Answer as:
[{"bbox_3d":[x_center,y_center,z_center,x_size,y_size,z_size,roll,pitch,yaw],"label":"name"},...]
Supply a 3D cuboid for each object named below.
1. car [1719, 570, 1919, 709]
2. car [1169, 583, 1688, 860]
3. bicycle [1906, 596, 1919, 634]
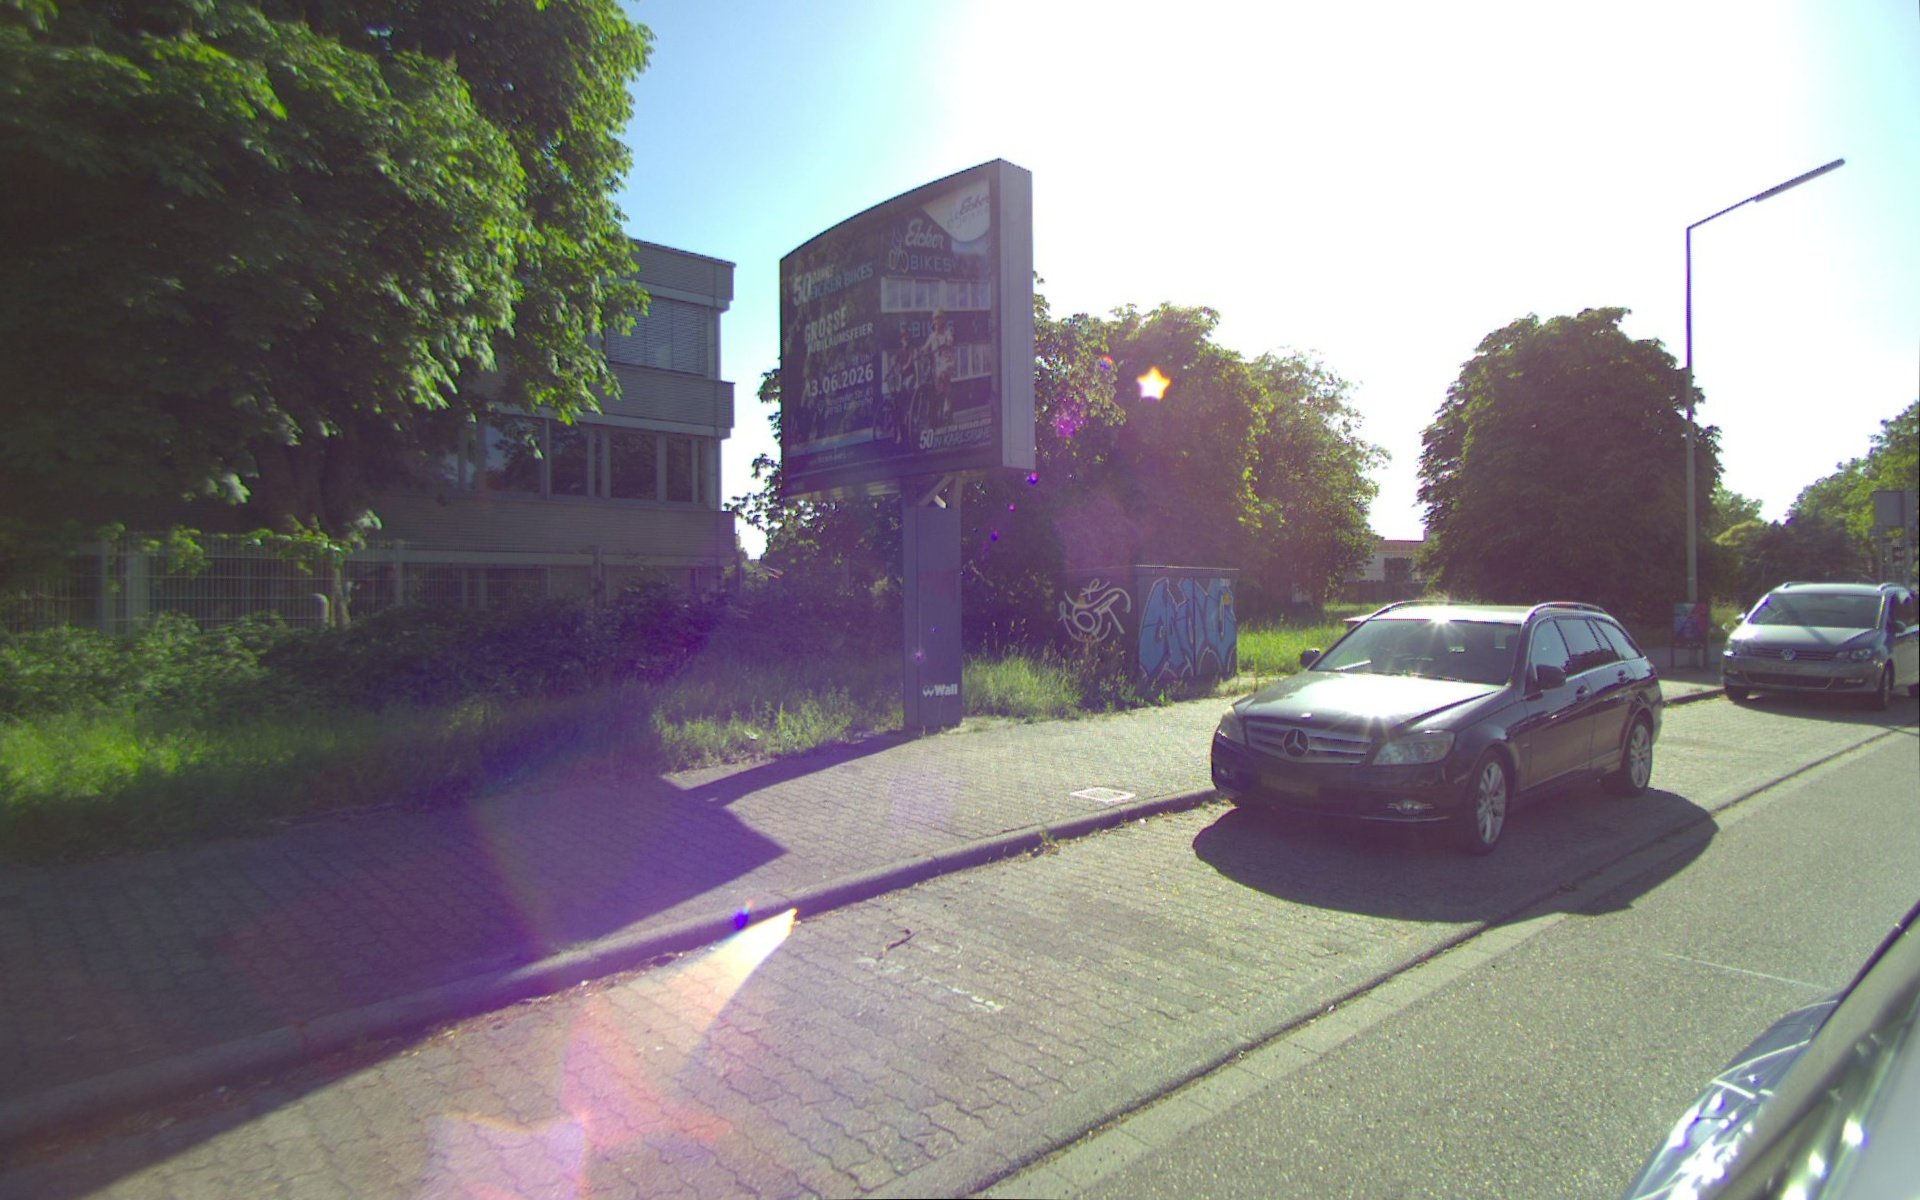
[{"bbox_3d":[13.076,0.454,14.917,4.528,1.743,1.878,-1,2,-38],"label":"car"},{"bbox_3d":[3.600,0.628,7.377,4.347,1.437,1.811,0,0,-41],"label":"car"},{"bbox_3d":[30.659,0.452,31.148,2.891,1.140,0.905,0,-1,-16],"label":"bicycle"}]
